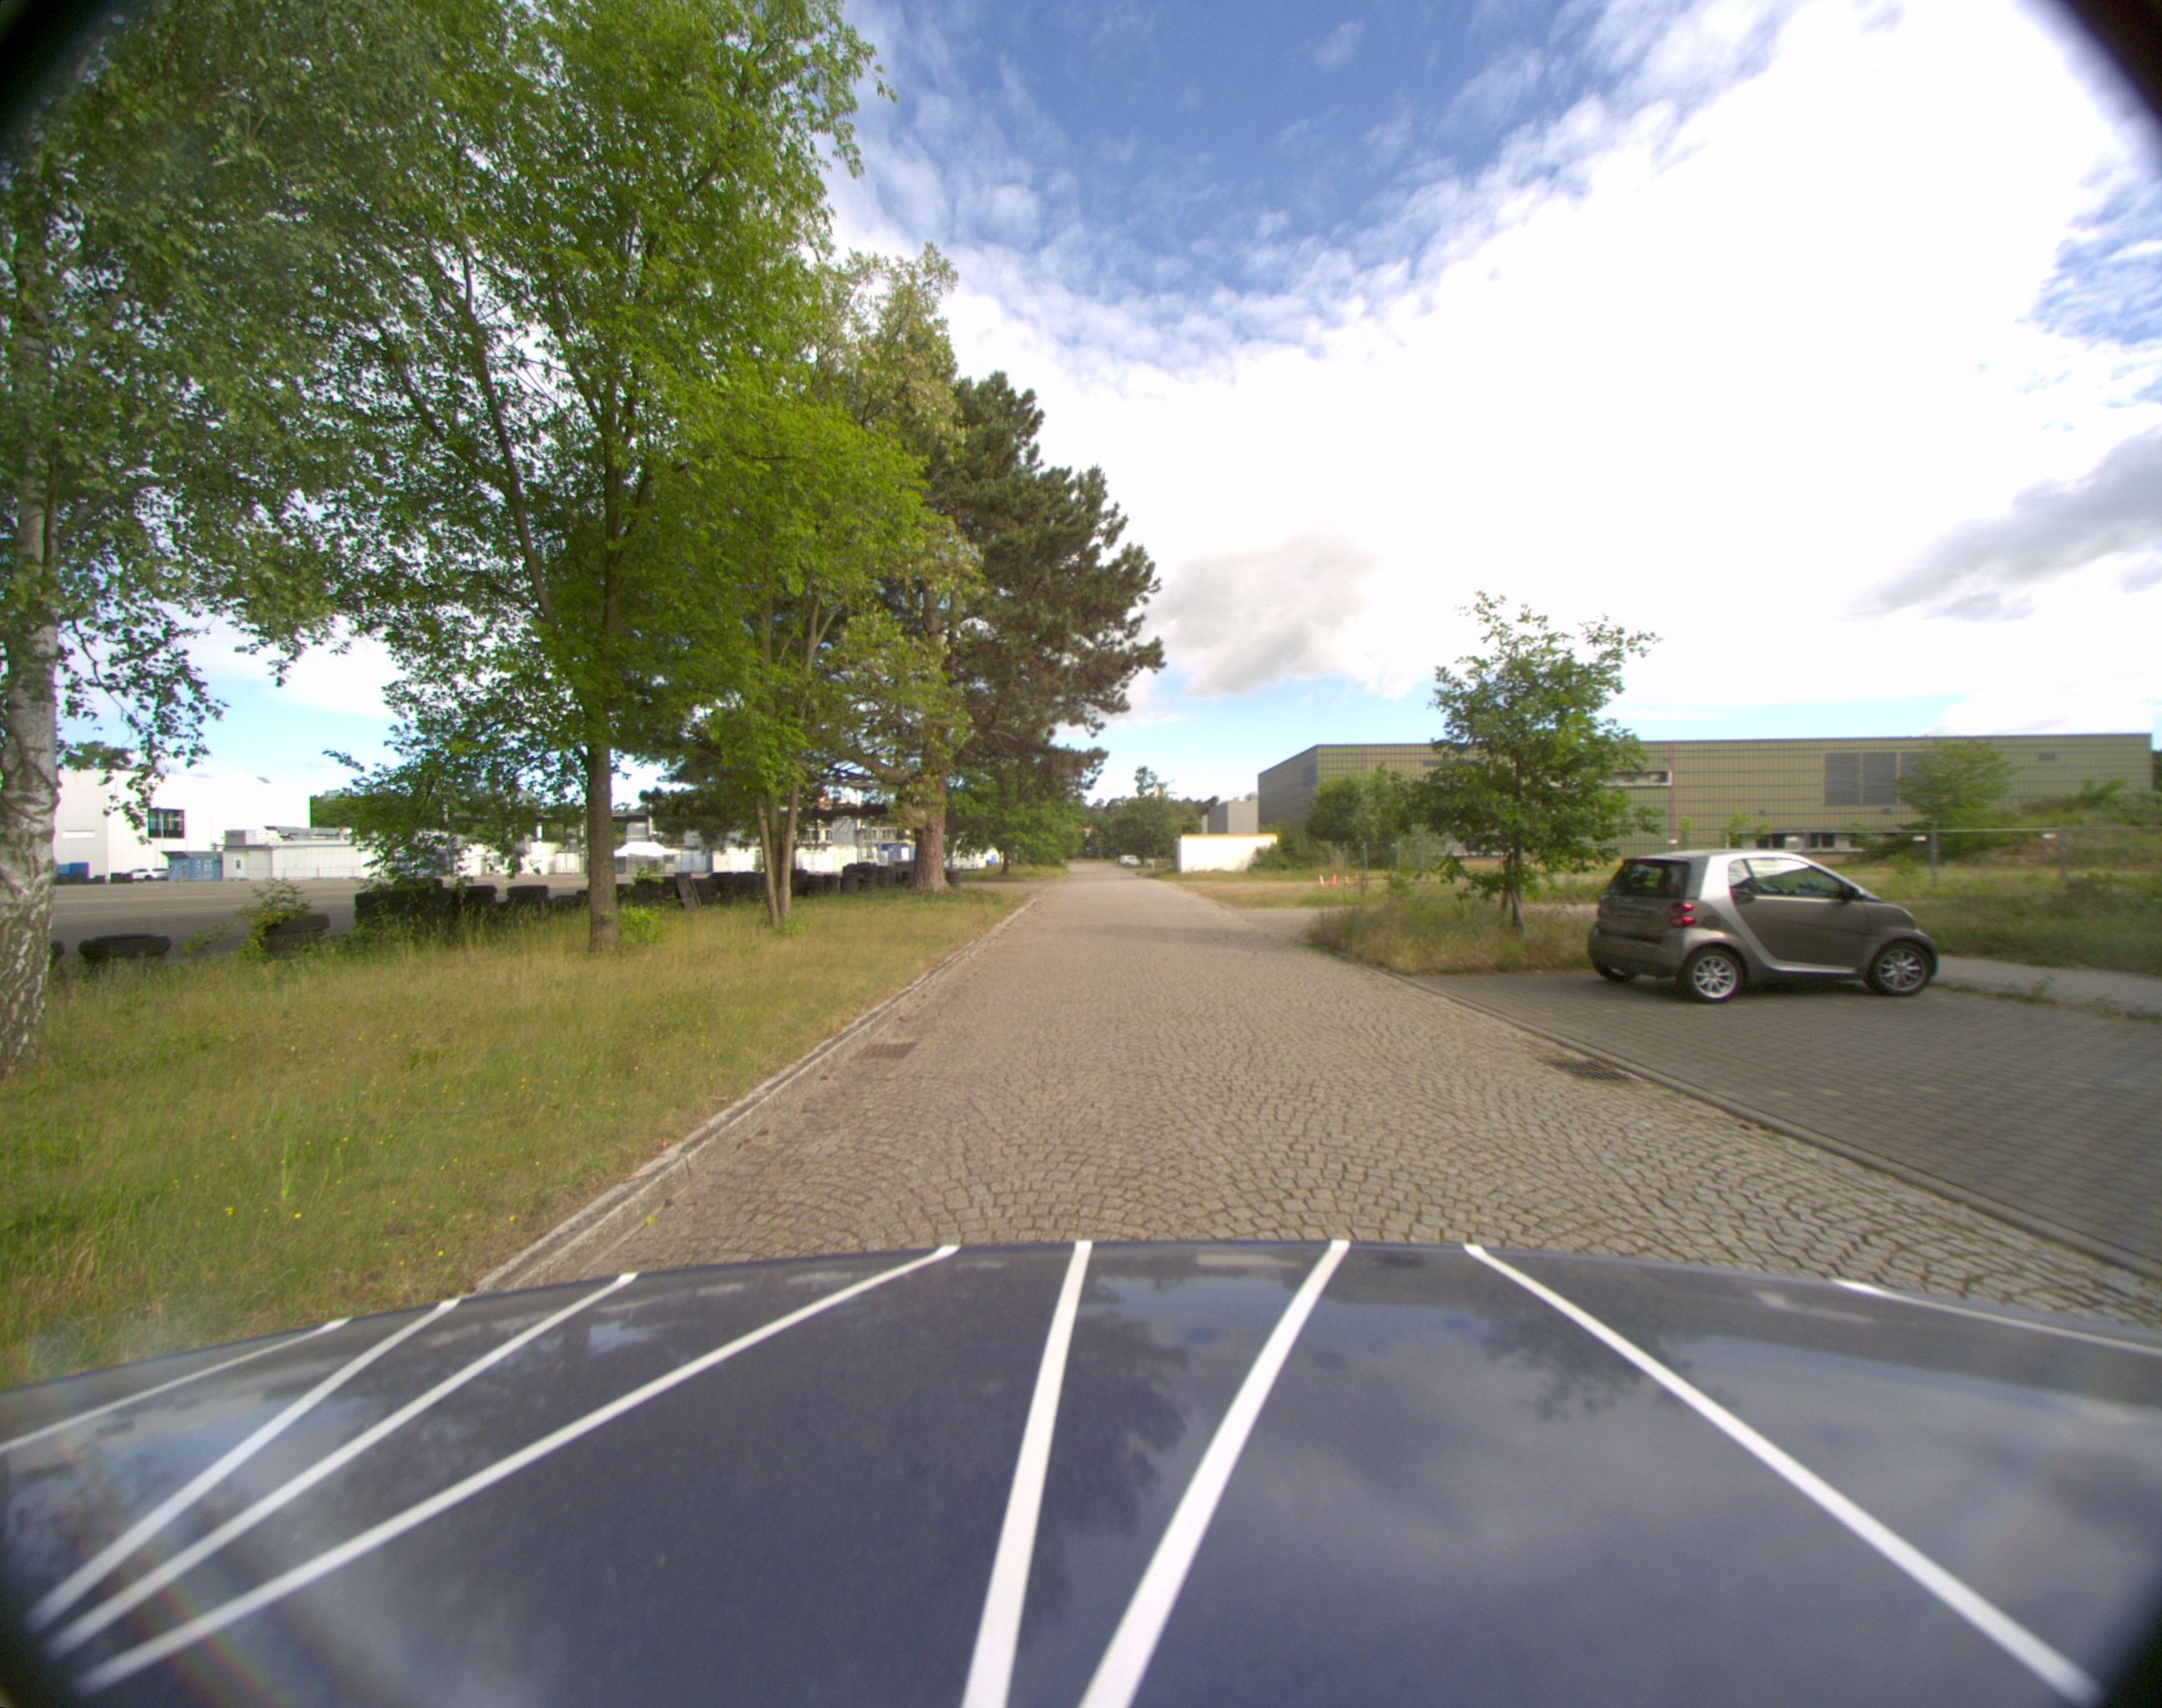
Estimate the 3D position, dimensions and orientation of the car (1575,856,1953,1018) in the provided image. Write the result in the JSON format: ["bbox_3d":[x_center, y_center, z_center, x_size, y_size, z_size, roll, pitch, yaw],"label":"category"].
[{"bbox_3d":[7.279,0.826,8.321,2.661,1.502,1.610,-2,0,0],"label":"car"}]

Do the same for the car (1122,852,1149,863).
[{"bbox_3d":[8.280,0.538,115.544,3.996,1.604,1.797,0,0,4],"label":"car"}]
